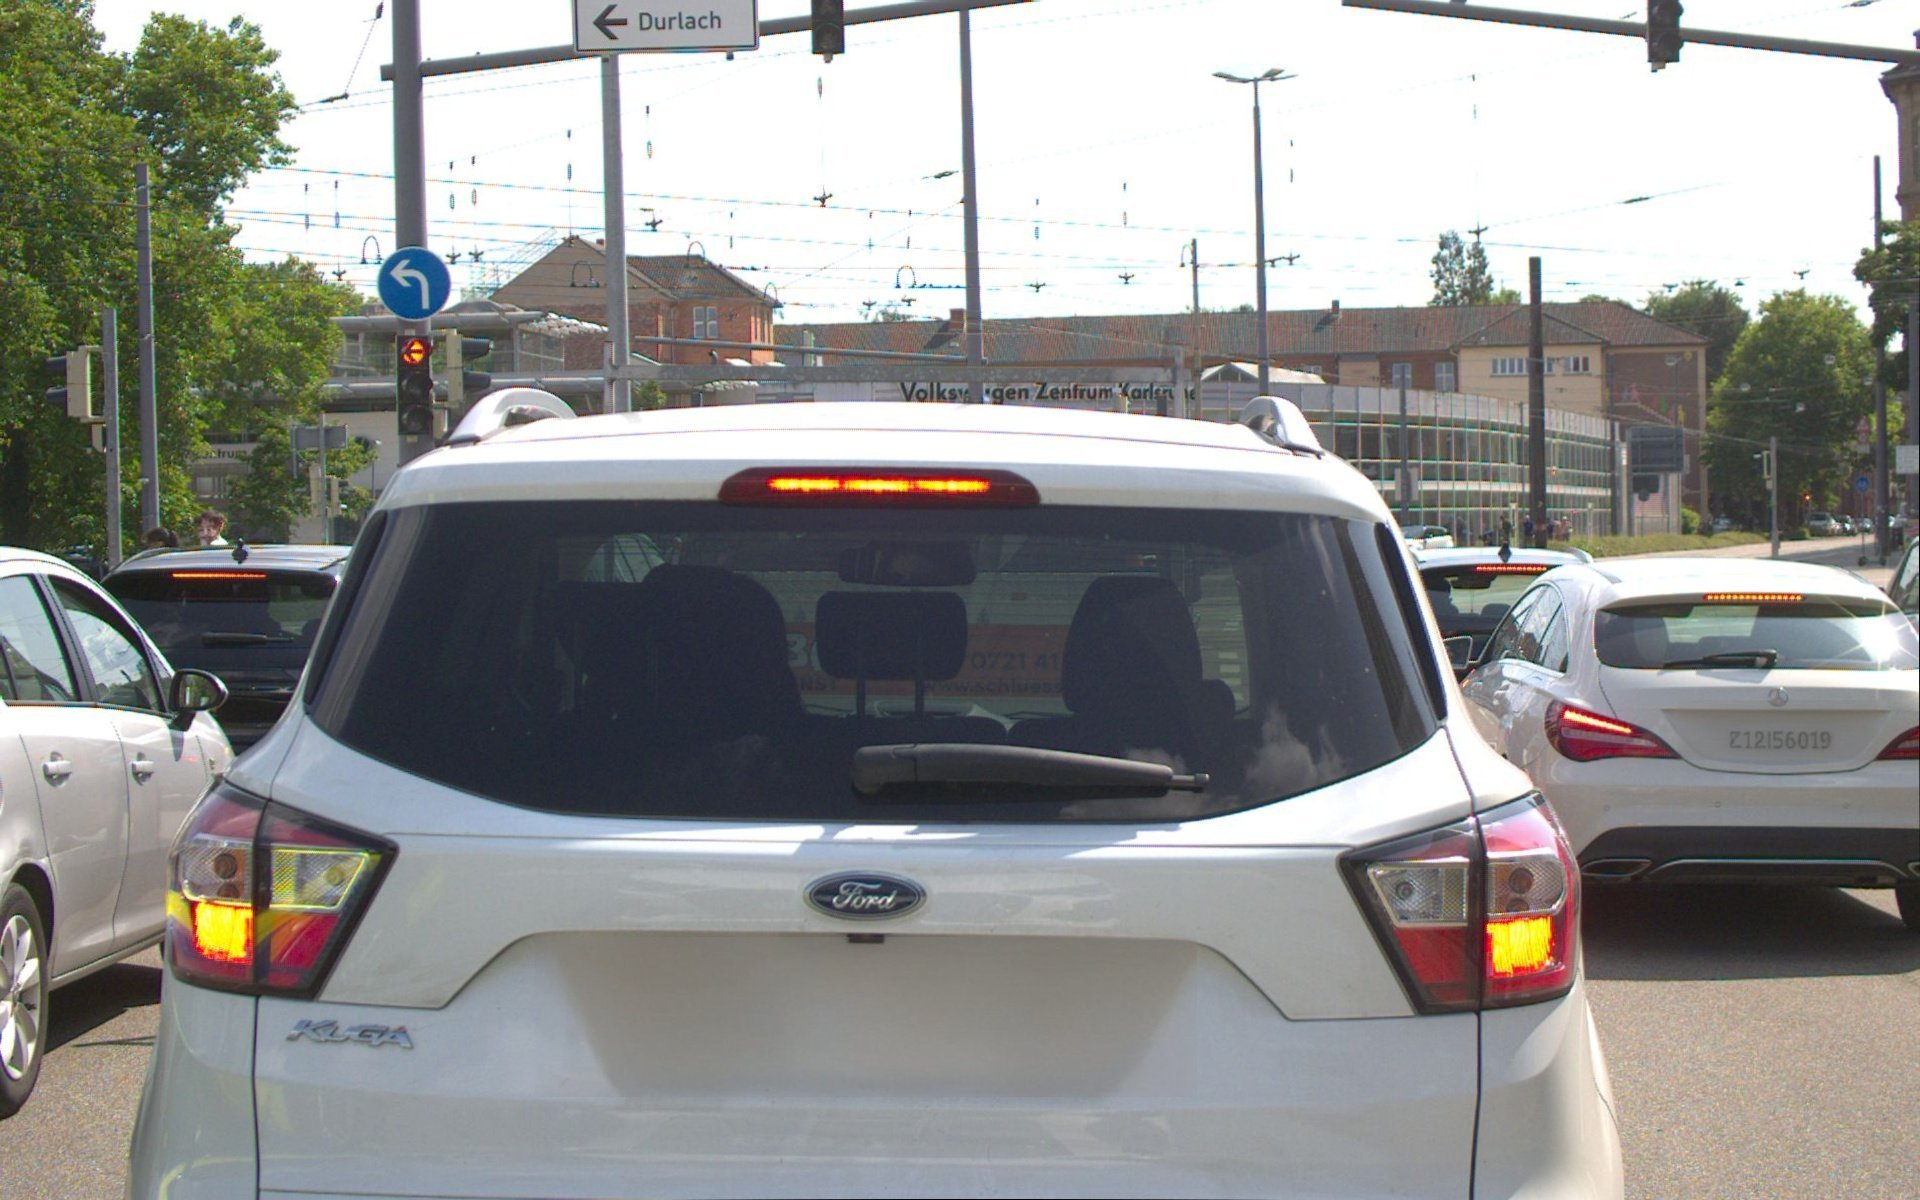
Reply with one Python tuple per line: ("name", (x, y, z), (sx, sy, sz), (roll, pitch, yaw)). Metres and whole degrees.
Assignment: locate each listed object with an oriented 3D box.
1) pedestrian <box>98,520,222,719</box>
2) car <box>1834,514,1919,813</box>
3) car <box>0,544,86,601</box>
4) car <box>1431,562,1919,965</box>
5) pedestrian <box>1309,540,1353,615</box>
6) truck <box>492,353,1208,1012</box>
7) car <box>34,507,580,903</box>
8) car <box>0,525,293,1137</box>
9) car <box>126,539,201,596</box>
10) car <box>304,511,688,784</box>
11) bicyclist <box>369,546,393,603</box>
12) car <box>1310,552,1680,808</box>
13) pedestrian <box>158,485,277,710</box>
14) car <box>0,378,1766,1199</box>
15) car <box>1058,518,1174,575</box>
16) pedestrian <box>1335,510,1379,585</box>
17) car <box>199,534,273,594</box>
("pedestrian", (-6.745, 0.162, 29.014), (0.847, 1.642, 0.692), (-1, 0, -1))
("car", (6.296, 0.339, 19.856), (1.837, 1.646, 3.999), (0, 0, 6))
("car", (-33.345, -0.985, 124.757), (1.967, 1.930, 5.069), (-3, 0, -1))
("car", (3.006, 0.559, 14.025), (1.850, 1.414, 3.679), (0, 1, 3))
("pedestrian", (8.746, -0.529, 81.038), (0.589, 1.738, 0.924), (1, 1, 40))
("truck", (-0.326, 0.215, 14.157), (2.339, 2.148, 5.852), (0, 1, 1))
("car", (-2.865, 0.378, 16.045), (1.762, 1.563, 4.527), (-1, 1, -1))
("car", (-3.259, 0.537, 10.078), (1.848, 1.469, 4.000), (-1, 1, -1))
("car", (-28.674, -1.146, 123.904), (1.967, 1.930, 4.231), (-3, 0, -5))
("car", (-2.855, 0.235, 22.131), (2.039, 1.573, 4.540), (0, 1, -2))
("bicyclist", (-17.557, -0.773, 104.276), (0.637, 1.732, 0.662), (0, 1, -3))
("car", (3.139, 0.416, 20.826), (1.850, 1.414, 3.679), (0, 1, 3))
("pedestrian", (-6.434, -0.026, 29.829), (0.847, 1.910, 0.692), (-1, 0, -1))
("car", (-0.023, 0.581, 5.397), (1.827, 1.658, 3.955), (0, 1, 3))
("car", (4.275, -1.471, 93.692), (1.901, 1.456, 3.964), (-2, 1, 22))
("pedestrian", (9.292, -1.236, 80.491), (0.589, 1.738, 0.924), (1, 1, 41))
("car", (-26.015, -1.274, 123.647), (1.993, 2.007, 4.231), (-3, 0, -5))
